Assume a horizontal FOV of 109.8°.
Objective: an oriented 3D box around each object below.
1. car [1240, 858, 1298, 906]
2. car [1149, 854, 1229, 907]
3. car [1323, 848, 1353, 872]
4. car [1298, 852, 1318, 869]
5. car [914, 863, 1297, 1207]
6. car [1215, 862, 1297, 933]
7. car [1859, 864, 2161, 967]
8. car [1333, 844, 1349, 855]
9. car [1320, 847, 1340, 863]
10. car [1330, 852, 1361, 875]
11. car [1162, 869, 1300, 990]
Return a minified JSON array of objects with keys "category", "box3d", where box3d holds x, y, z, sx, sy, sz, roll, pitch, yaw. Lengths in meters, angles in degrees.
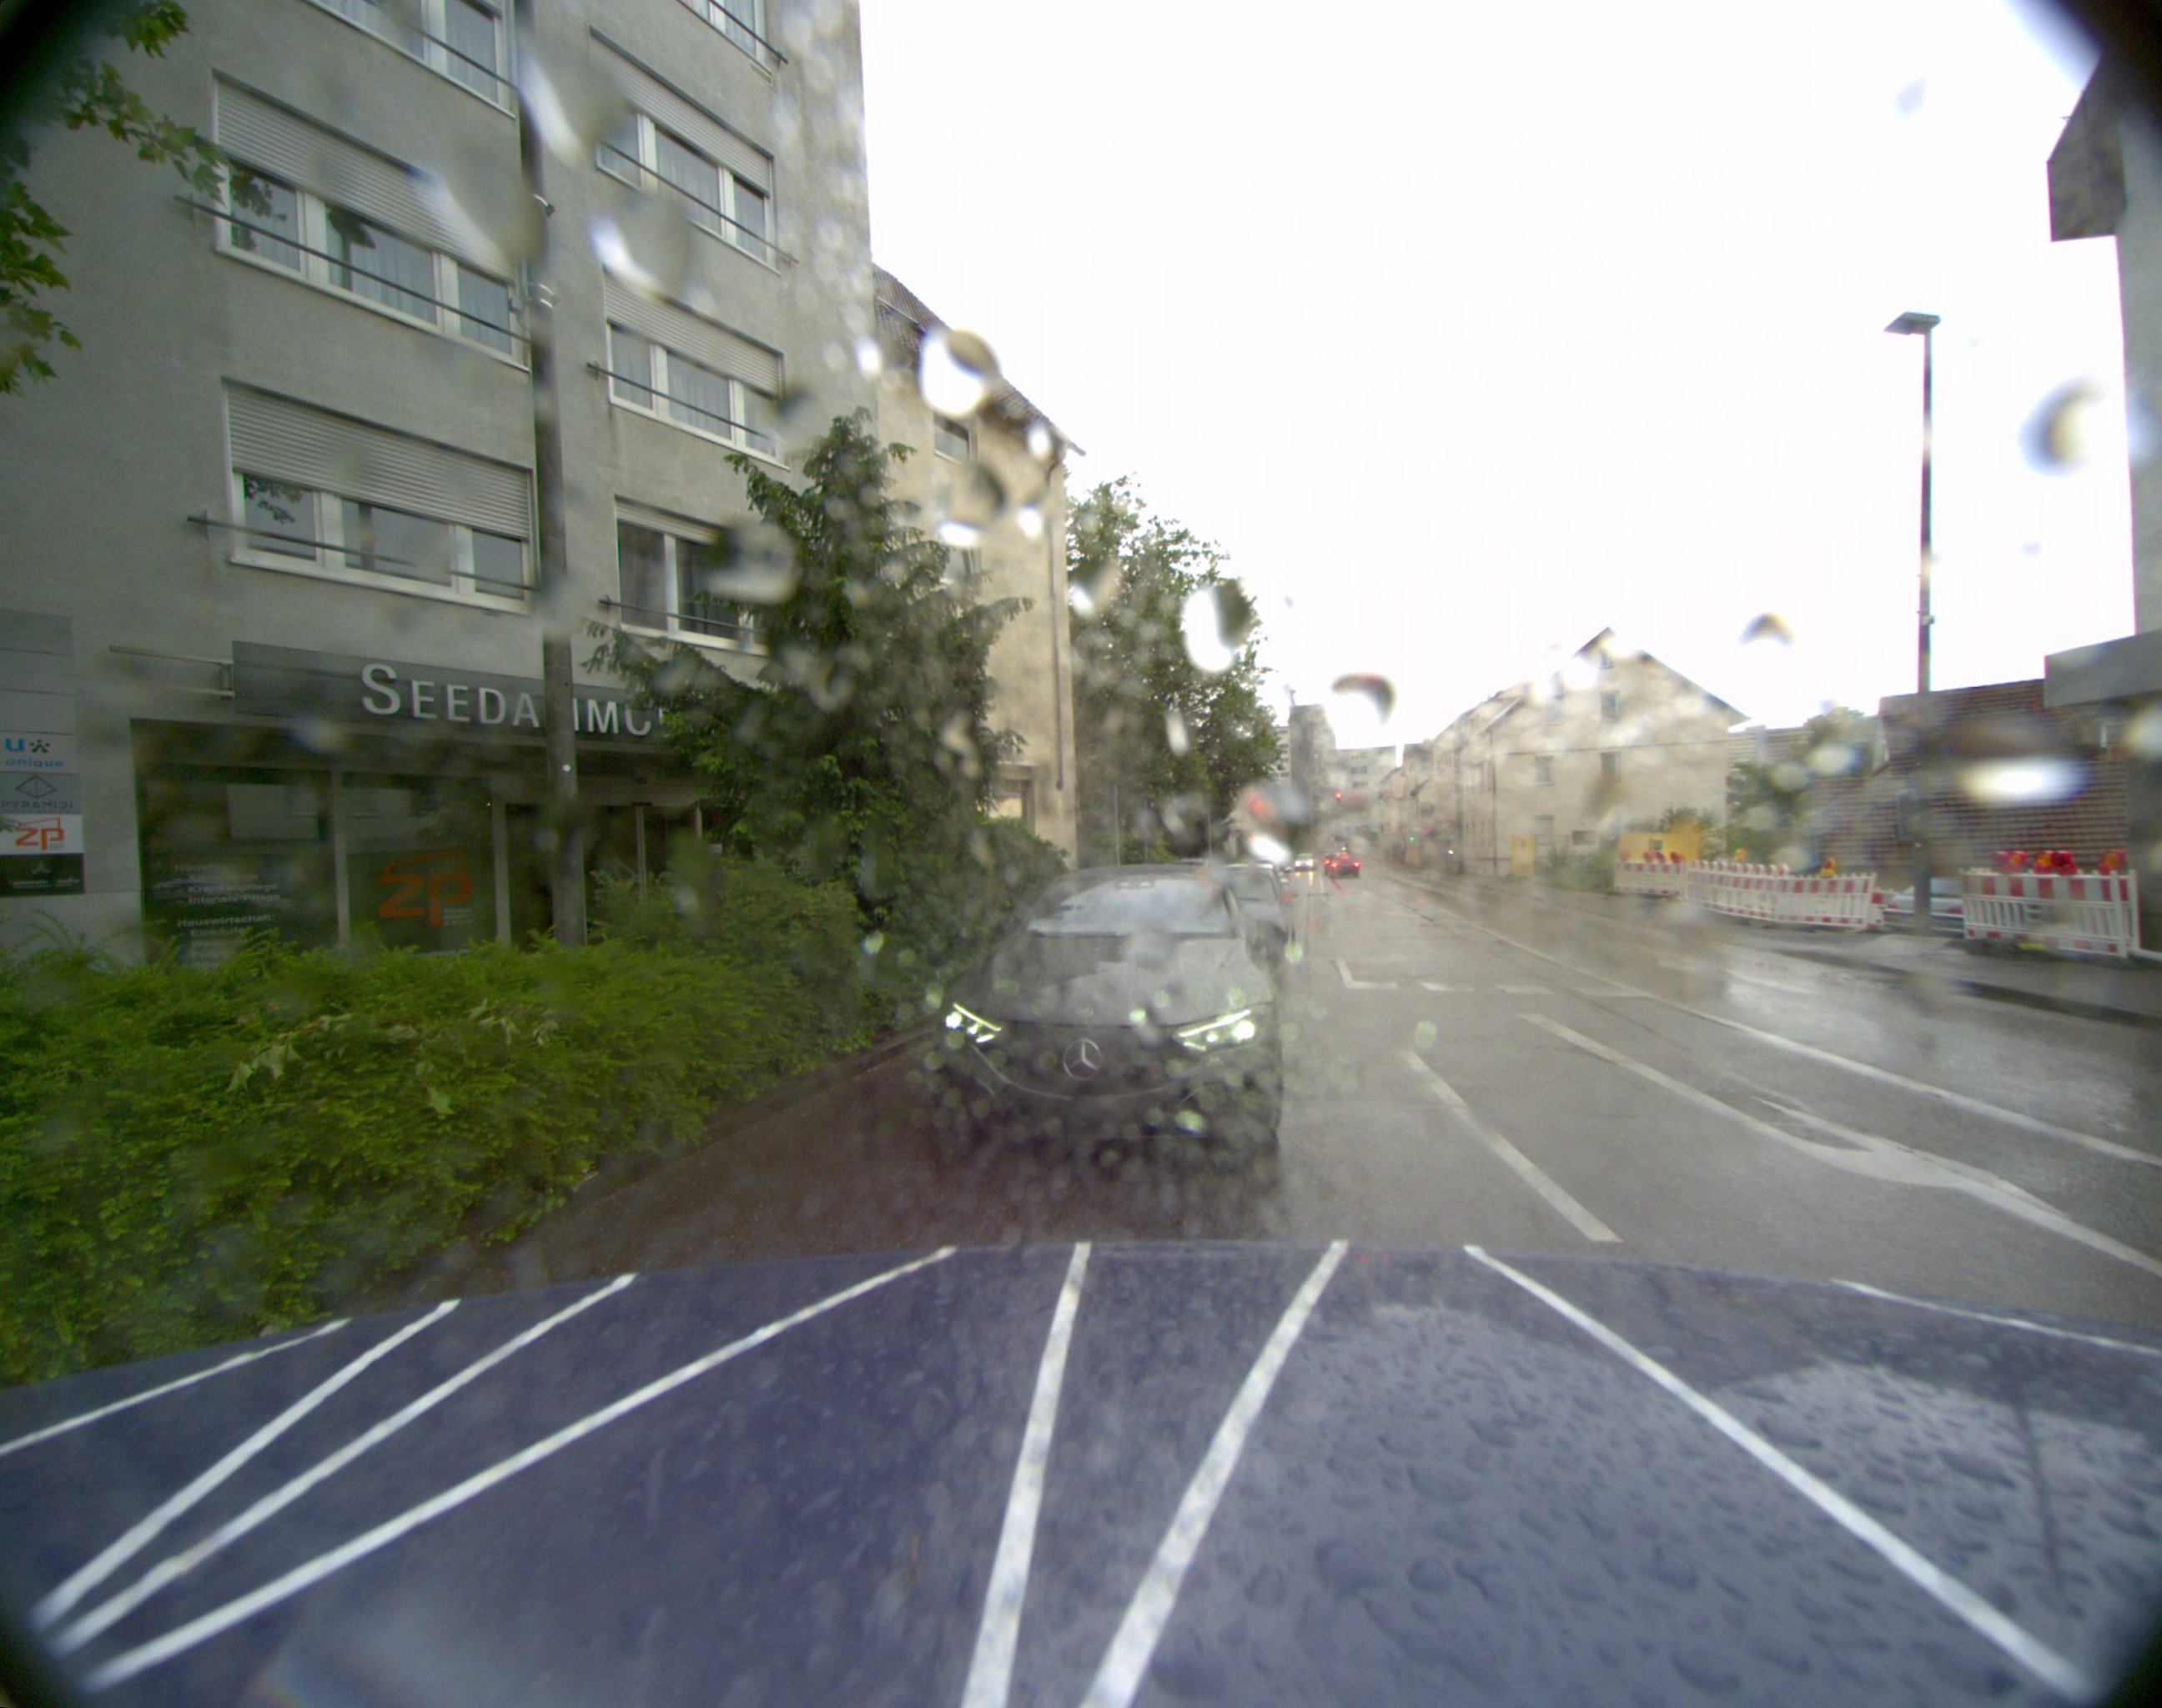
[{"category":"car","box3d":[6.622,0.915,26.482,1.684,1.452,4.005,-2,0,17]},{"category":"car","box3d":[4.051,0.896,27.811,1.933,1.770,4.740,-1,0,20]},{"category":"car","box3d":[18.861,0.465,55.927,1.818,1.635,4.281,-3,-1,16]},{"category":"car","box3d":[20.863,0.570,69.799,1.613,1.495,3.722,-3,0,17]},{"category":"car","box3d":[0.501,0.902,5.781,1.819,1.562,4.280,-3,-1,11]},{"category":"car","box3d":[4.246,0.971,18.266,1.685,1.413,4.004,-2,0,14]},{"category":"car","box3d":[16.506,1.056,13.428,3.505,1.382,1.653,6,-1,8]},{"category":"car","box3d":[38.138,-0.666,111.518,1.790,1.555,3.842,-2,0,24]},{"category":"car","box3d":[29.436,0.091,90.019,1.791,1.841,3.839,-2,0,13]},{"category":"car","box3d":[17.255,0.609,49.646,1.709,1.375,3.674,-2,0,16]},{"category":"car","box3d":[2.404,0.976,11.448,1.639,1.424,3.810,-1,0,17]}]
